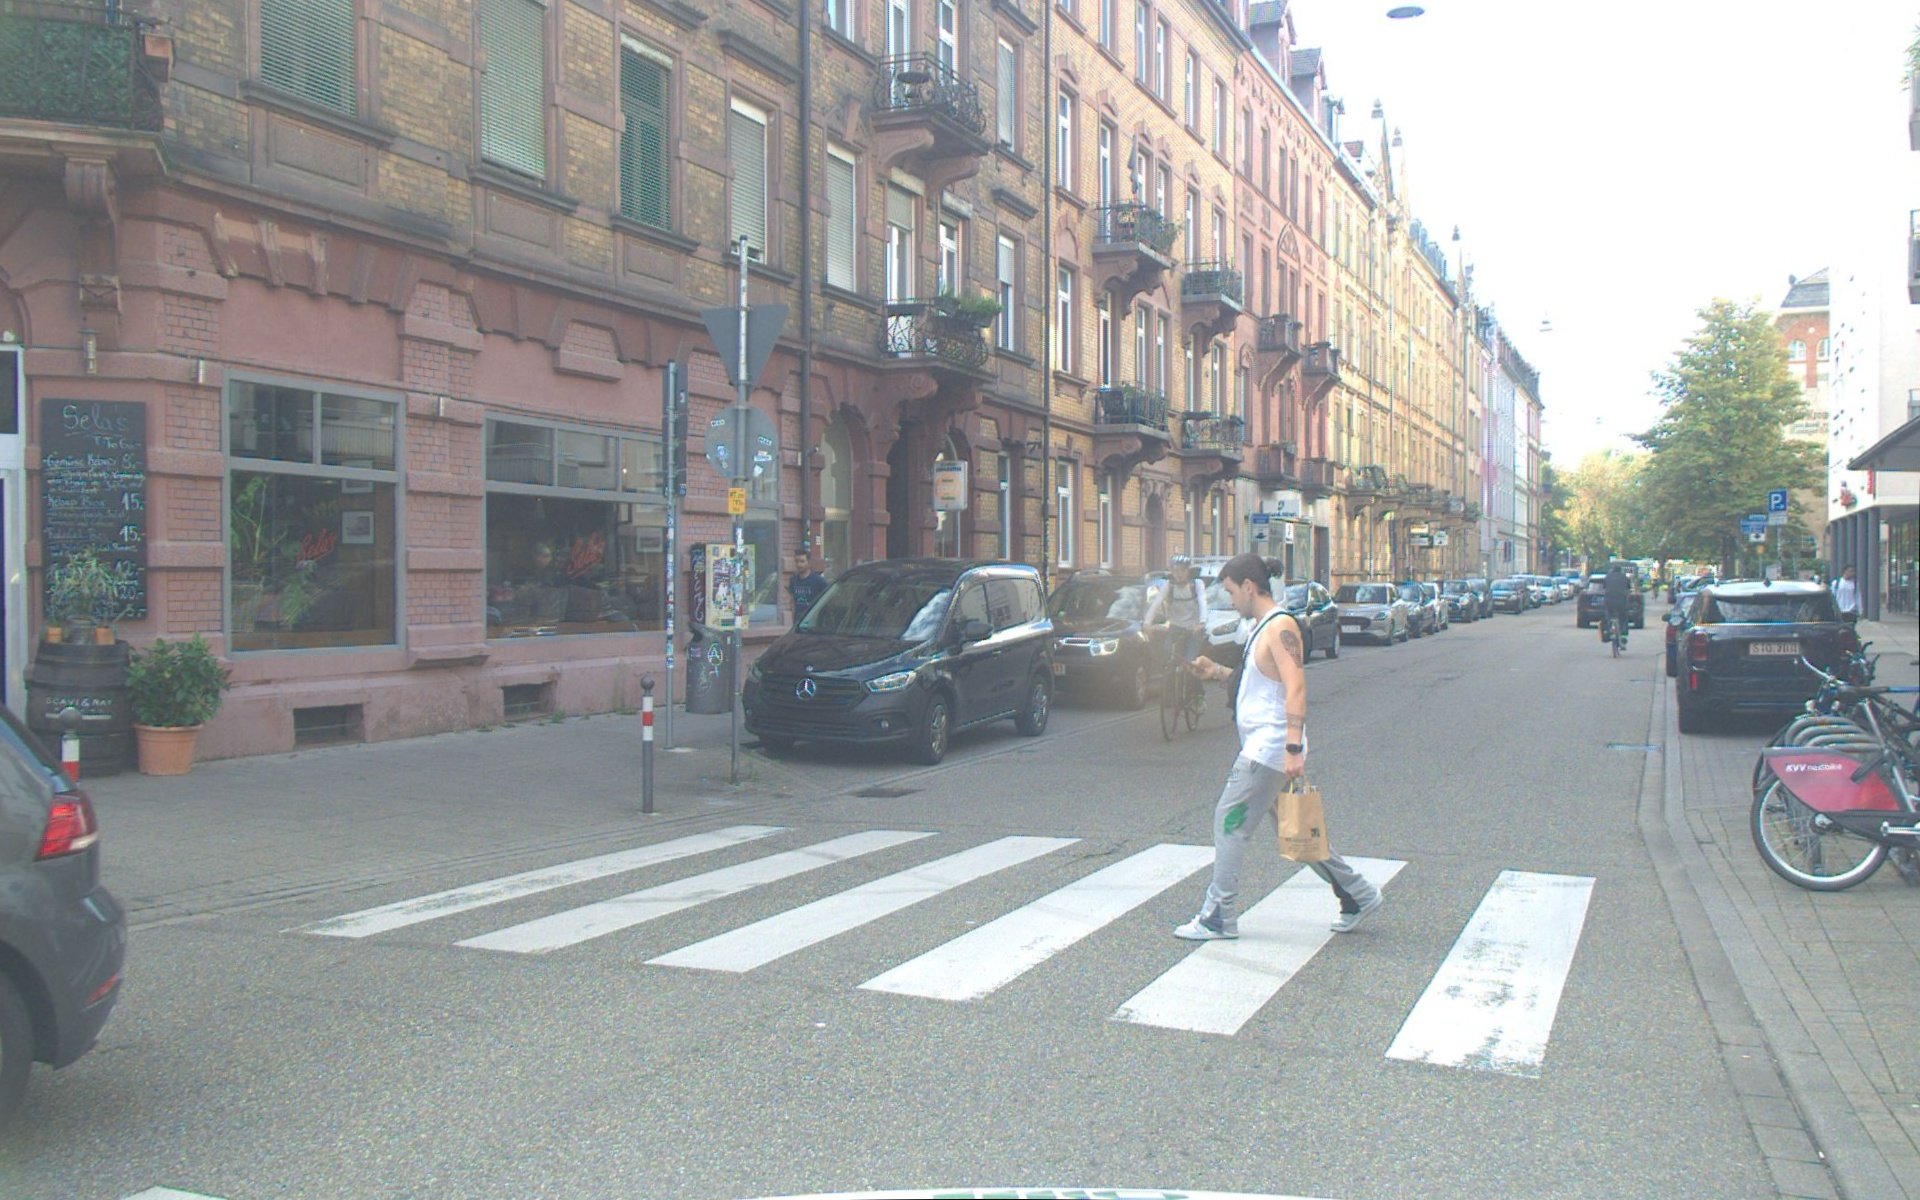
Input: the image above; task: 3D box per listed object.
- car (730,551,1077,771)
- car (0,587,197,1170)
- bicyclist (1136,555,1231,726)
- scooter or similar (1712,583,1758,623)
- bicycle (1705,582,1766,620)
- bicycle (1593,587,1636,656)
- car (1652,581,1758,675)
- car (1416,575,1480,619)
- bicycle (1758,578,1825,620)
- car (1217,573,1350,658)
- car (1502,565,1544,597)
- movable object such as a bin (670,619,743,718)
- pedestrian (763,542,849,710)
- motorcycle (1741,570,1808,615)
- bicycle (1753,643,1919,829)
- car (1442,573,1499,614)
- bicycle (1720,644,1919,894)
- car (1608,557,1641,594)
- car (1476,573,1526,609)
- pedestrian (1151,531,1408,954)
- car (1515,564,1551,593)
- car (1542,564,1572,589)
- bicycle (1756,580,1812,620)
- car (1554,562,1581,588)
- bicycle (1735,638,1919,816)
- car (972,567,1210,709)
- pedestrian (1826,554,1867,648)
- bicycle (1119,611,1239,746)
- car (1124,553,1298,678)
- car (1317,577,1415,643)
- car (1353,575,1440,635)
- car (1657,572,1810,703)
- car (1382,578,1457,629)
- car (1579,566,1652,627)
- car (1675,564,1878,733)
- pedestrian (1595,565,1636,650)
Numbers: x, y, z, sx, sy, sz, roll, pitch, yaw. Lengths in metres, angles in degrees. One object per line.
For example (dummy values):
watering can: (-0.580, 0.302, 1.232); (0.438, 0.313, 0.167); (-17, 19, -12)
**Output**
car: (-0.378, 0.472, 16.298); (1.724, 1.804, 4.405); (2, 2, 22)
car: (-3.965, 0.741, 3.444); (1.760, 1.463, 3.988); (-2, 0, 34)
bicyclist: (2.321, 0.398, 17.092); (0.686, 1.707, 1.112); (-1, 0, 22)
scooter or similar: (23.150, 0.100, 49.406); (0.374, 1.167, 1.195); (-4, 1, -34)
bicycle: (25.786, 0.033, 55.003); (1.759, 1.179, 0.500); (-2, 0, 27)
bicycle: (13.257, 0.414, 33.462); (0.704, 1.296, 1.883); (1, 2, 24)
car: (12.961, 0.441, 28.773); (1.564, 1.464, 4.028); (-1, 1, 25)
car: (16.896, -0.123, 57.210); (1.656, 1.410, 3.866); (1, 2, 24)
bicycle: (24.606, -0.028, 48.973); (1.731, 1.182, 0.649); (-2, 0, 26)
car: (6.402, 0.287, 32.425); (1.707, 1.509, 3.982); (2, 1, 24)
car: (28.628, -0.983, 83.975); (1.656, 1.577, 3.865); (2, 1, 24)
movable object such as a bin: (-1.977, 0.528, 12.904); (0.375, 0.726, 0.476); (1, 1, 19)
pedestrian: (-1.773, 0.280, 19.129); (0.662, 1.872, 0.858); (2, 2, 18)
motorcycle: (29.620, -0.271, 60.183); (2.109, 1.557, 0.685); (-2, 0, 29)
bicycle: (5.939, 0.826, 10.229); (1.750, 1.089, 0.569); (-2, 1, 14)
car: (19.513, -0.257, 63.133); (1.656, 1.462, 3.866); (1, 2, 24)
bicycle: (4.851, 0.810, 8.240); (1.844, 1.145, 0.907); (-3, 0, 22)
car: (38.863, -1.455, 96.697); (1.746, 2.055, 3.887); (1, 2, 23)
car: (23.725, -0.426, 72.470); (1.656, 1.393, 3.866); (4, 3, 23)
pedestrian: (1.406, 0.573, 7.185); (0.998, 1.700, 0.805); (0, 0, 19)
car: (32.965, -1.243, 95.120); (1.656, 1.577, 3.866); (2, 1, 23)
car: (39.264, -1.537, 108.756); (1.656, 1.577, 3.866); (2, 1, 23)
bicycle: (25.248, -0.003, 50.692); (1.465, 1.166, 0.411); (-2, 0, 24)
car: (45.517, -1.885, 123.905); (1.656, 1.852, 3.866); (2, 1, 23)
bicycle: (6.100, 0.817, 10.825); (1.750, 1.089, 0.587); (-2, 1, 14)
car: (1.846, 0.413, 21.898); (1.953, 1.666, 4.145); (1, 1, 22)
pedestrian: (16.884, 0.000, 31.529); (0.599, 1.756, 1.126); (-1, 1, 24)
bicycle: (2.278, 0.764, 16.969); (0.686, 1.241, 2.117); (-1, 1, 22)
car: (4.291, 0.179, 27.718); (1.881, 1.904, 4.436); (1, 1, 22)
car: (10.094, 0.203, 40.943); (1.707, 1.509, 3.982); (1, 2, 24)
car: (12.019, 0.103, 45.407); (1.707, 1.509, 3.982); (1, 2, 24)
car: (10.363, 0.439, 22.374); (1.653, 1.604, 3.902); (-1, 0, 22)
car: (13.819, 0.074, 49.638); (1.656, 1.410, 3.866); (1, 2, 24)
car: (20.179, -0.133, 50.812); (1.925, 1.771, 4.039); (1, 1, 24)
car: (8.913, 0.463, 18.279); (1.756, 1.633, 3.922); (-3, 0, 24)
pedestrian: (13.303, 0.136, 33.563); (0.704, 1.678, 0.930); (1, 1, 24)
